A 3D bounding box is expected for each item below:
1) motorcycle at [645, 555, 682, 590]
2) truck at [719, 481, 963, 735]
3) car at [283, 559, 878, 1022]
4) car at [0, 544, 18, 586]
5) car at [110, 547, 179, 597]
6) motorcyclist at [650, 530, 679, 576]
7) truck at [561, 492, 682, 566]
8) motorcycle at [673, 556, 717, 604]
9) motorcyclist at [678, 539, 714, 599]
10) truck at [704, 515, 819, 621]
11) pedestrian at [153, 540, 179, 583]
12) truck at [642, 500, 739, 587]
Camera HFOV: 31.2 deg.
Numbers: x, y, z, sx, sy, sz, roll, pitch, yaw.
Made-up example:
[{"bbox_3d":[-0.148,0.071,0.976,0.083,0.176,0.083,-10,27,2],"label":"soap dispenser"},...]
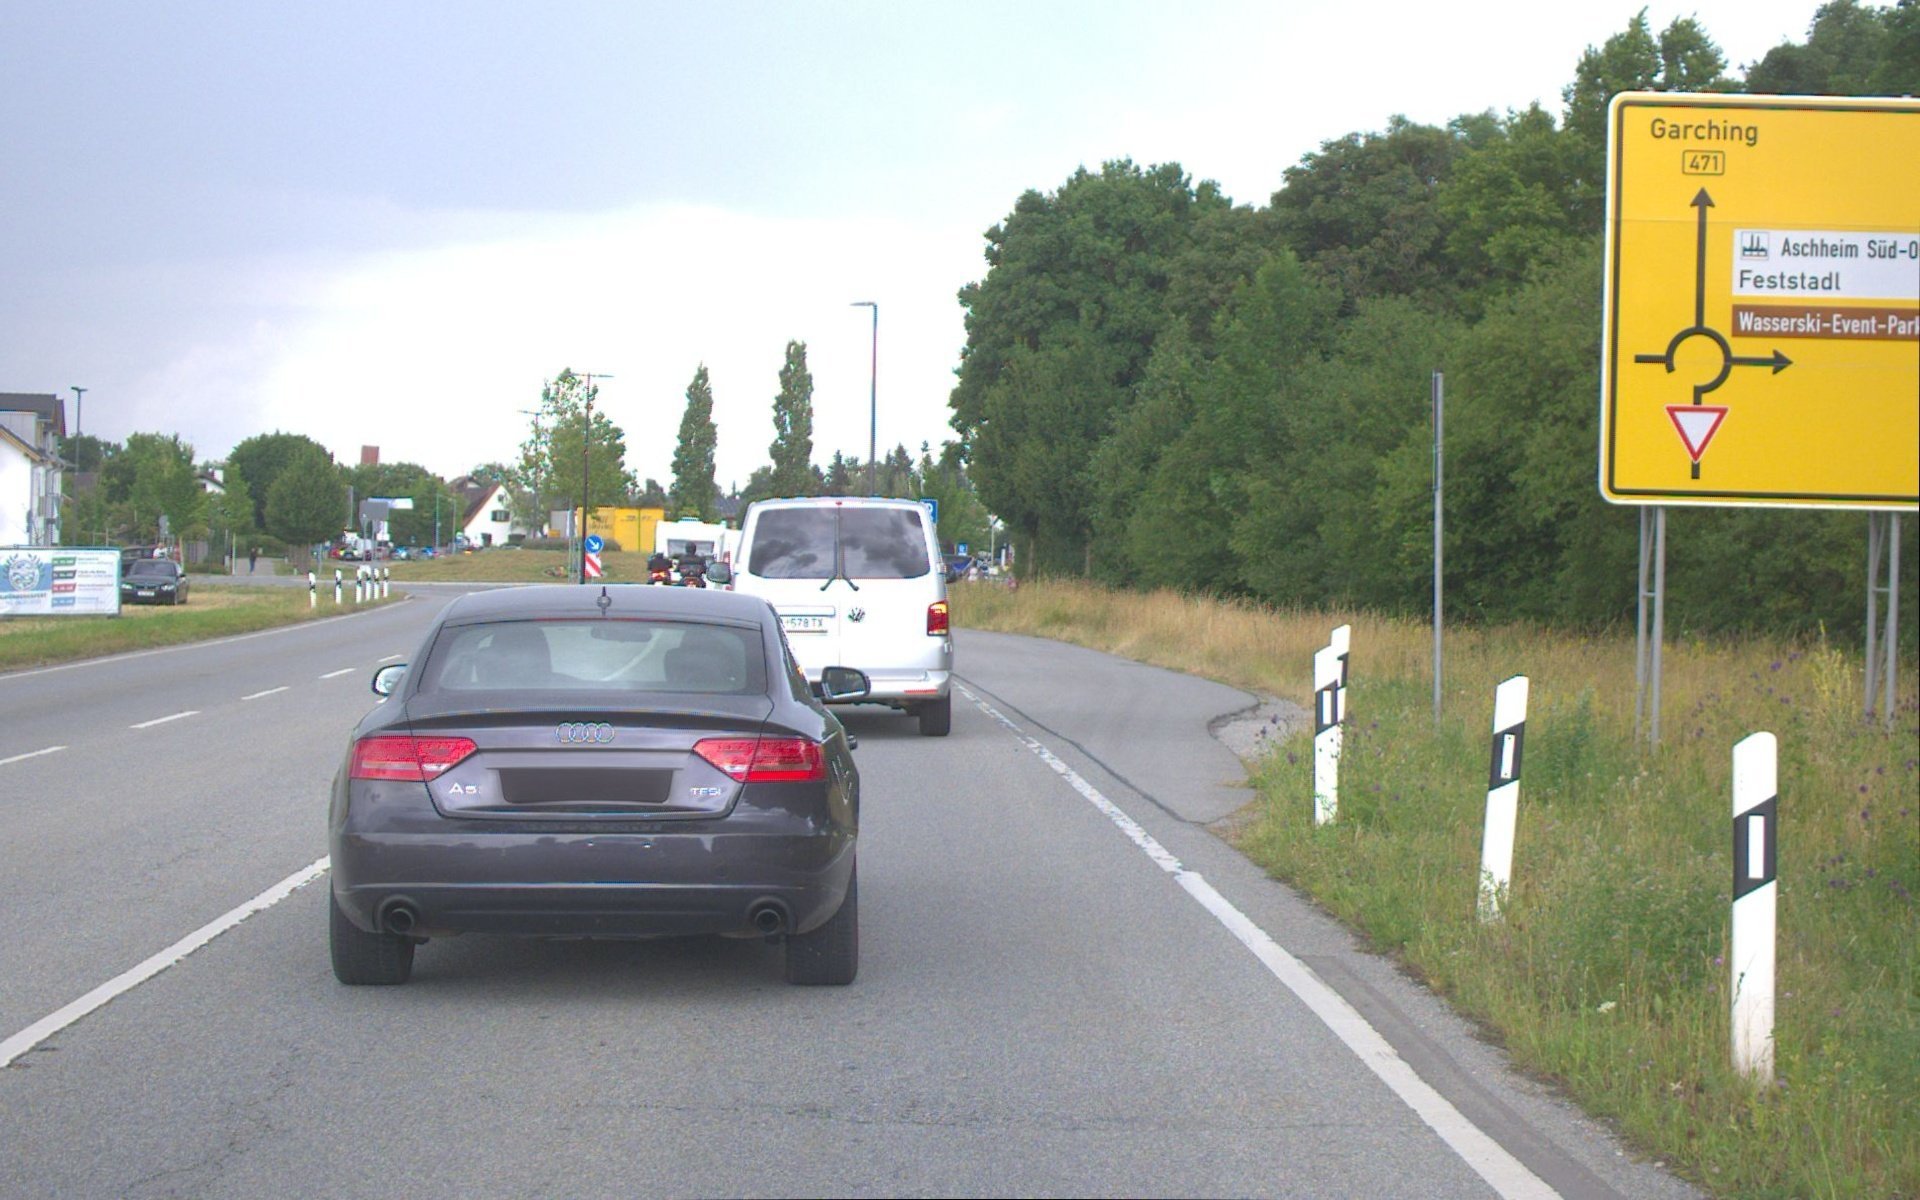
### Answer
[{"bbox_3d":[-8.876,-0.839,102.968,0.944,1.016,2.284,1,1,-9],"label":"motorcycle"},{"bbox_3d":[-1.055,0.027,29.614,1.904,1.991,4.629,1,1,-3],"label":"truck"},{"bbox_3d":[-1.325,0.584,13.005,1.875,1.449,4.177,0,1,-3],"label":"car"},{"bbox_3d":[-34.246,-1.213,117.680,1.995,1.441,4.208,1,1,16],"label":"car"},{"bbox_3d":[-25.059,-0.867,105.624,1.993,1.437,4.001,1,2,-14],"label":"car"},{"bbox_3d":[-8.862,-1.405,102.951,0.785,1.352,0.854,1,1,-9],"label":"motorcyclist"},{"bbox_3d":[-17.351,-3.651,175.516,3.575,3.566,9.959,1,1,-21],"label":"truck"},{"bbox_3d":[-6.172,-0.475,80.053,0.920,1.090,2.189,1,1,-2],"label":"motorcycle"},{"bbox_3d":[-6.138,-0.718,79.927,0.772,1.379,0.820,1,1,-2],"label":"motorcyclist"},{"bbox_3d":[-3.968,-0.649,69.088,2.193,2.007,5.085,1,1,-3],"label":"truck"},{"bbox_3d":[-29.390,-1.422,127.223,0.701,1.580,0.657,1,1,14],"label":"pedestrian"},{"bbox_3d":[-8.987,-1.864,114.095,2.625,2.728,5.869,1,1,-10],"label":"truck"}]
